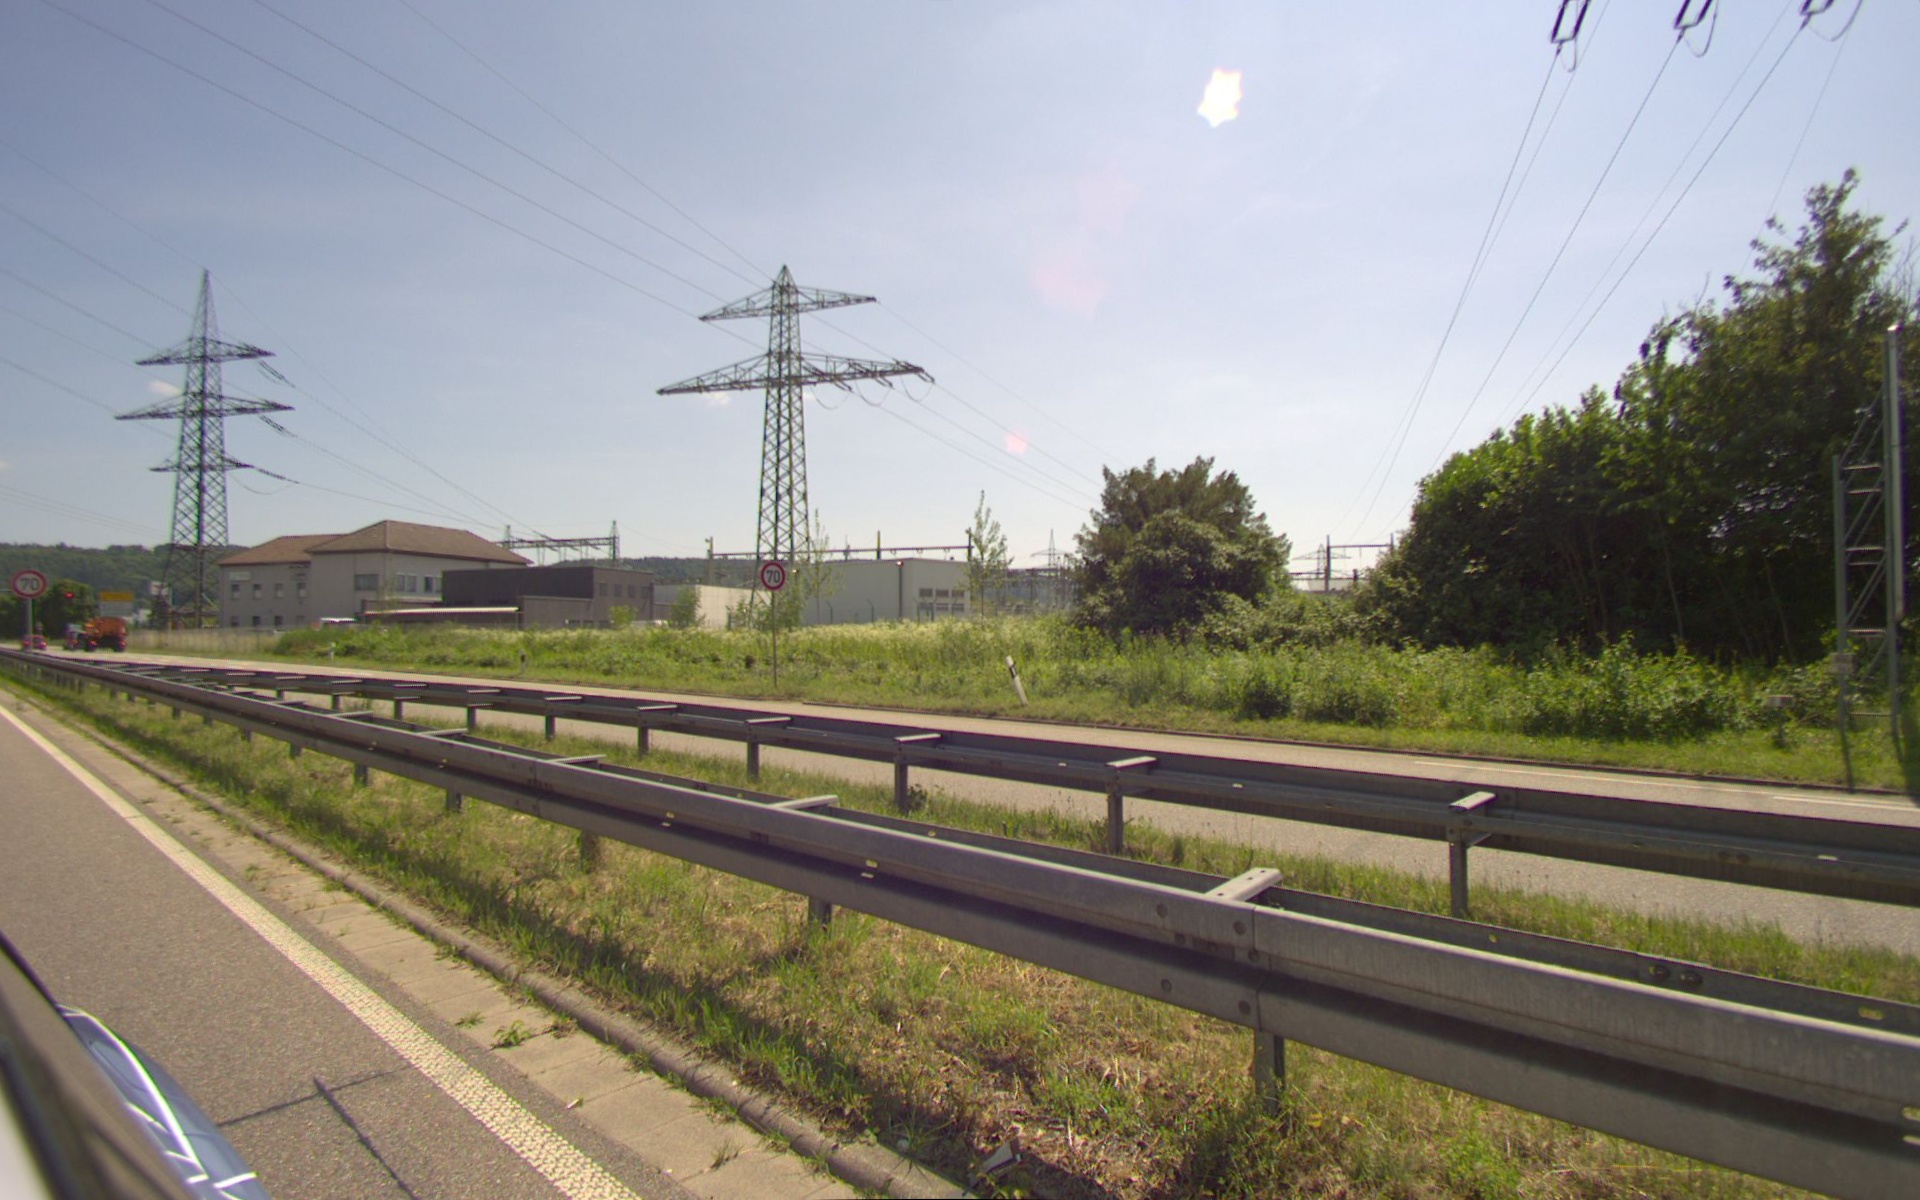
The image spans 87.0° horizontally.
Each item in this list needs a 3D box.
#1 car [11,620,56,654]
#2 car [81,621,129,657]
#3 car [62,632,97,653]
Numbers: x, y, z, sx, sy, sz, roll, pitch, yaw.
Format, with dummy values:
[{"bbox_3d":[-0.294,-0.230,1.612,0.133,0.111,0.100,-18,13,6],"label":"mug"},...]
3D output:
[{"bbox_3d":[-85.335,3.391,93.196,5.638,3.084,2.572,-2,-3,43],"label":"car"},{"bbox_3d":[-77.127,3.506,91.228,5.638,3.084,2.572,-2,-3,43],"label":"car"},{"bbox_3d":[-86.741,4.121,99.686,3.996,1.929,1.974,-1,0,40],"label":"car"}]
